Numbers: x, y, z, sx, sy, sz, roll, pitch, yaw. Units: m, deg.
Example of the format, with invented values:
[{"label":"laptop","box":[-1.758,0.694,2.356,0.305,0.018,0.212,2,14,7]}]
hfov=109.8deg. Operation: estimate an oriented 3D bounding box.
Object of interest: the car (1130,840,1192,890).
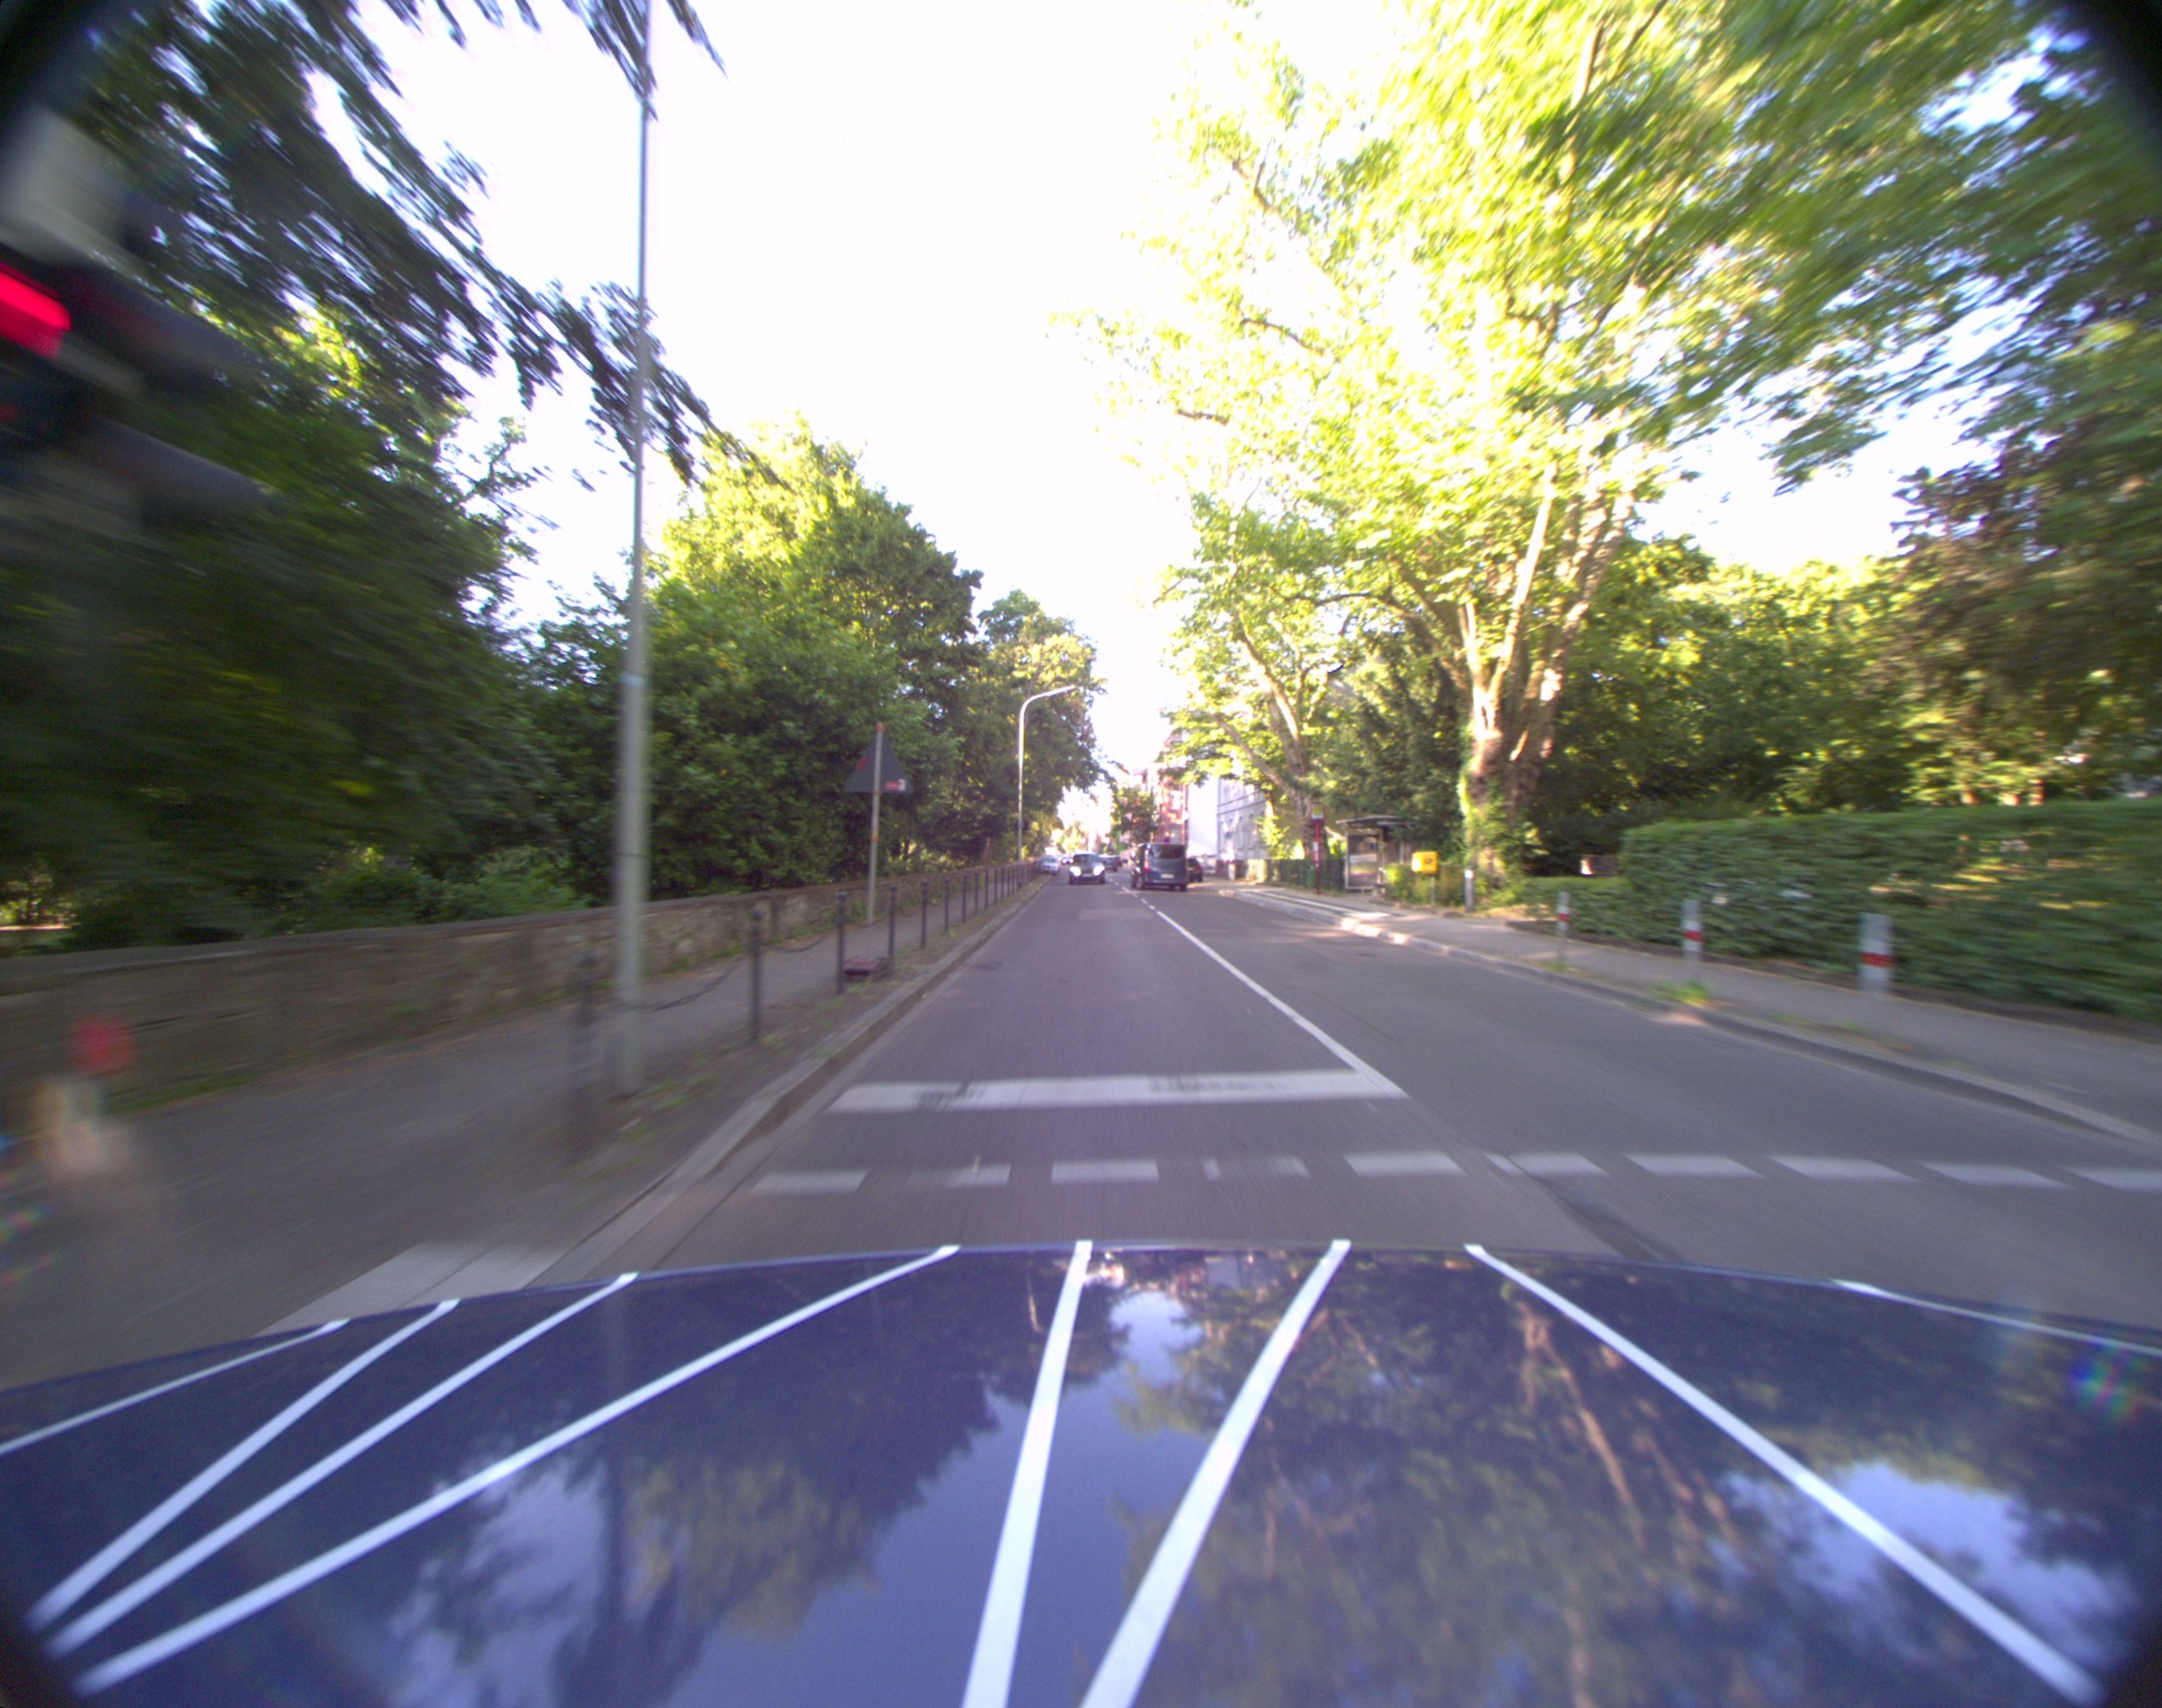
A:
[{"label":"car","box":[3.365,0.458,32.947,1.999,1.957,4.777,1,0,-2]}]

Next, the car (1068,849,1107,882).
[{"label":"car","box":[0.401,0.576,40.554,1.936,1.676,4.433,0,0,2]}]

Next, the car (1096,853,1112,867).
[{"label":"car","box":[2.855,0.748,95.432,1.875,1.608,4.000,-4,0,2]}]

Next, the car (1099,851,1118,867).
[{"label":"car","box":[2.559,0.476,71.100,1.628,1.425,3.559,1,0,-1]}]

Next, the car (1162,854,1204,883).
[{"label":"car","box":[5.492,0.743,41.269,1.689,1.425,3.615,-4,0,-1]}]

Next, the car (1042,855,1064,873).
[{"label":"car","box":[-2.706,0.903,72.493,1.861,1.568,3.998,-3,1,-4]}]

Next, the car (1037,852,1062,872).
[{"label":"car","box":[-2.515,0.610,59.561,1.824,1.375,3.933,3,1,-4]}]
